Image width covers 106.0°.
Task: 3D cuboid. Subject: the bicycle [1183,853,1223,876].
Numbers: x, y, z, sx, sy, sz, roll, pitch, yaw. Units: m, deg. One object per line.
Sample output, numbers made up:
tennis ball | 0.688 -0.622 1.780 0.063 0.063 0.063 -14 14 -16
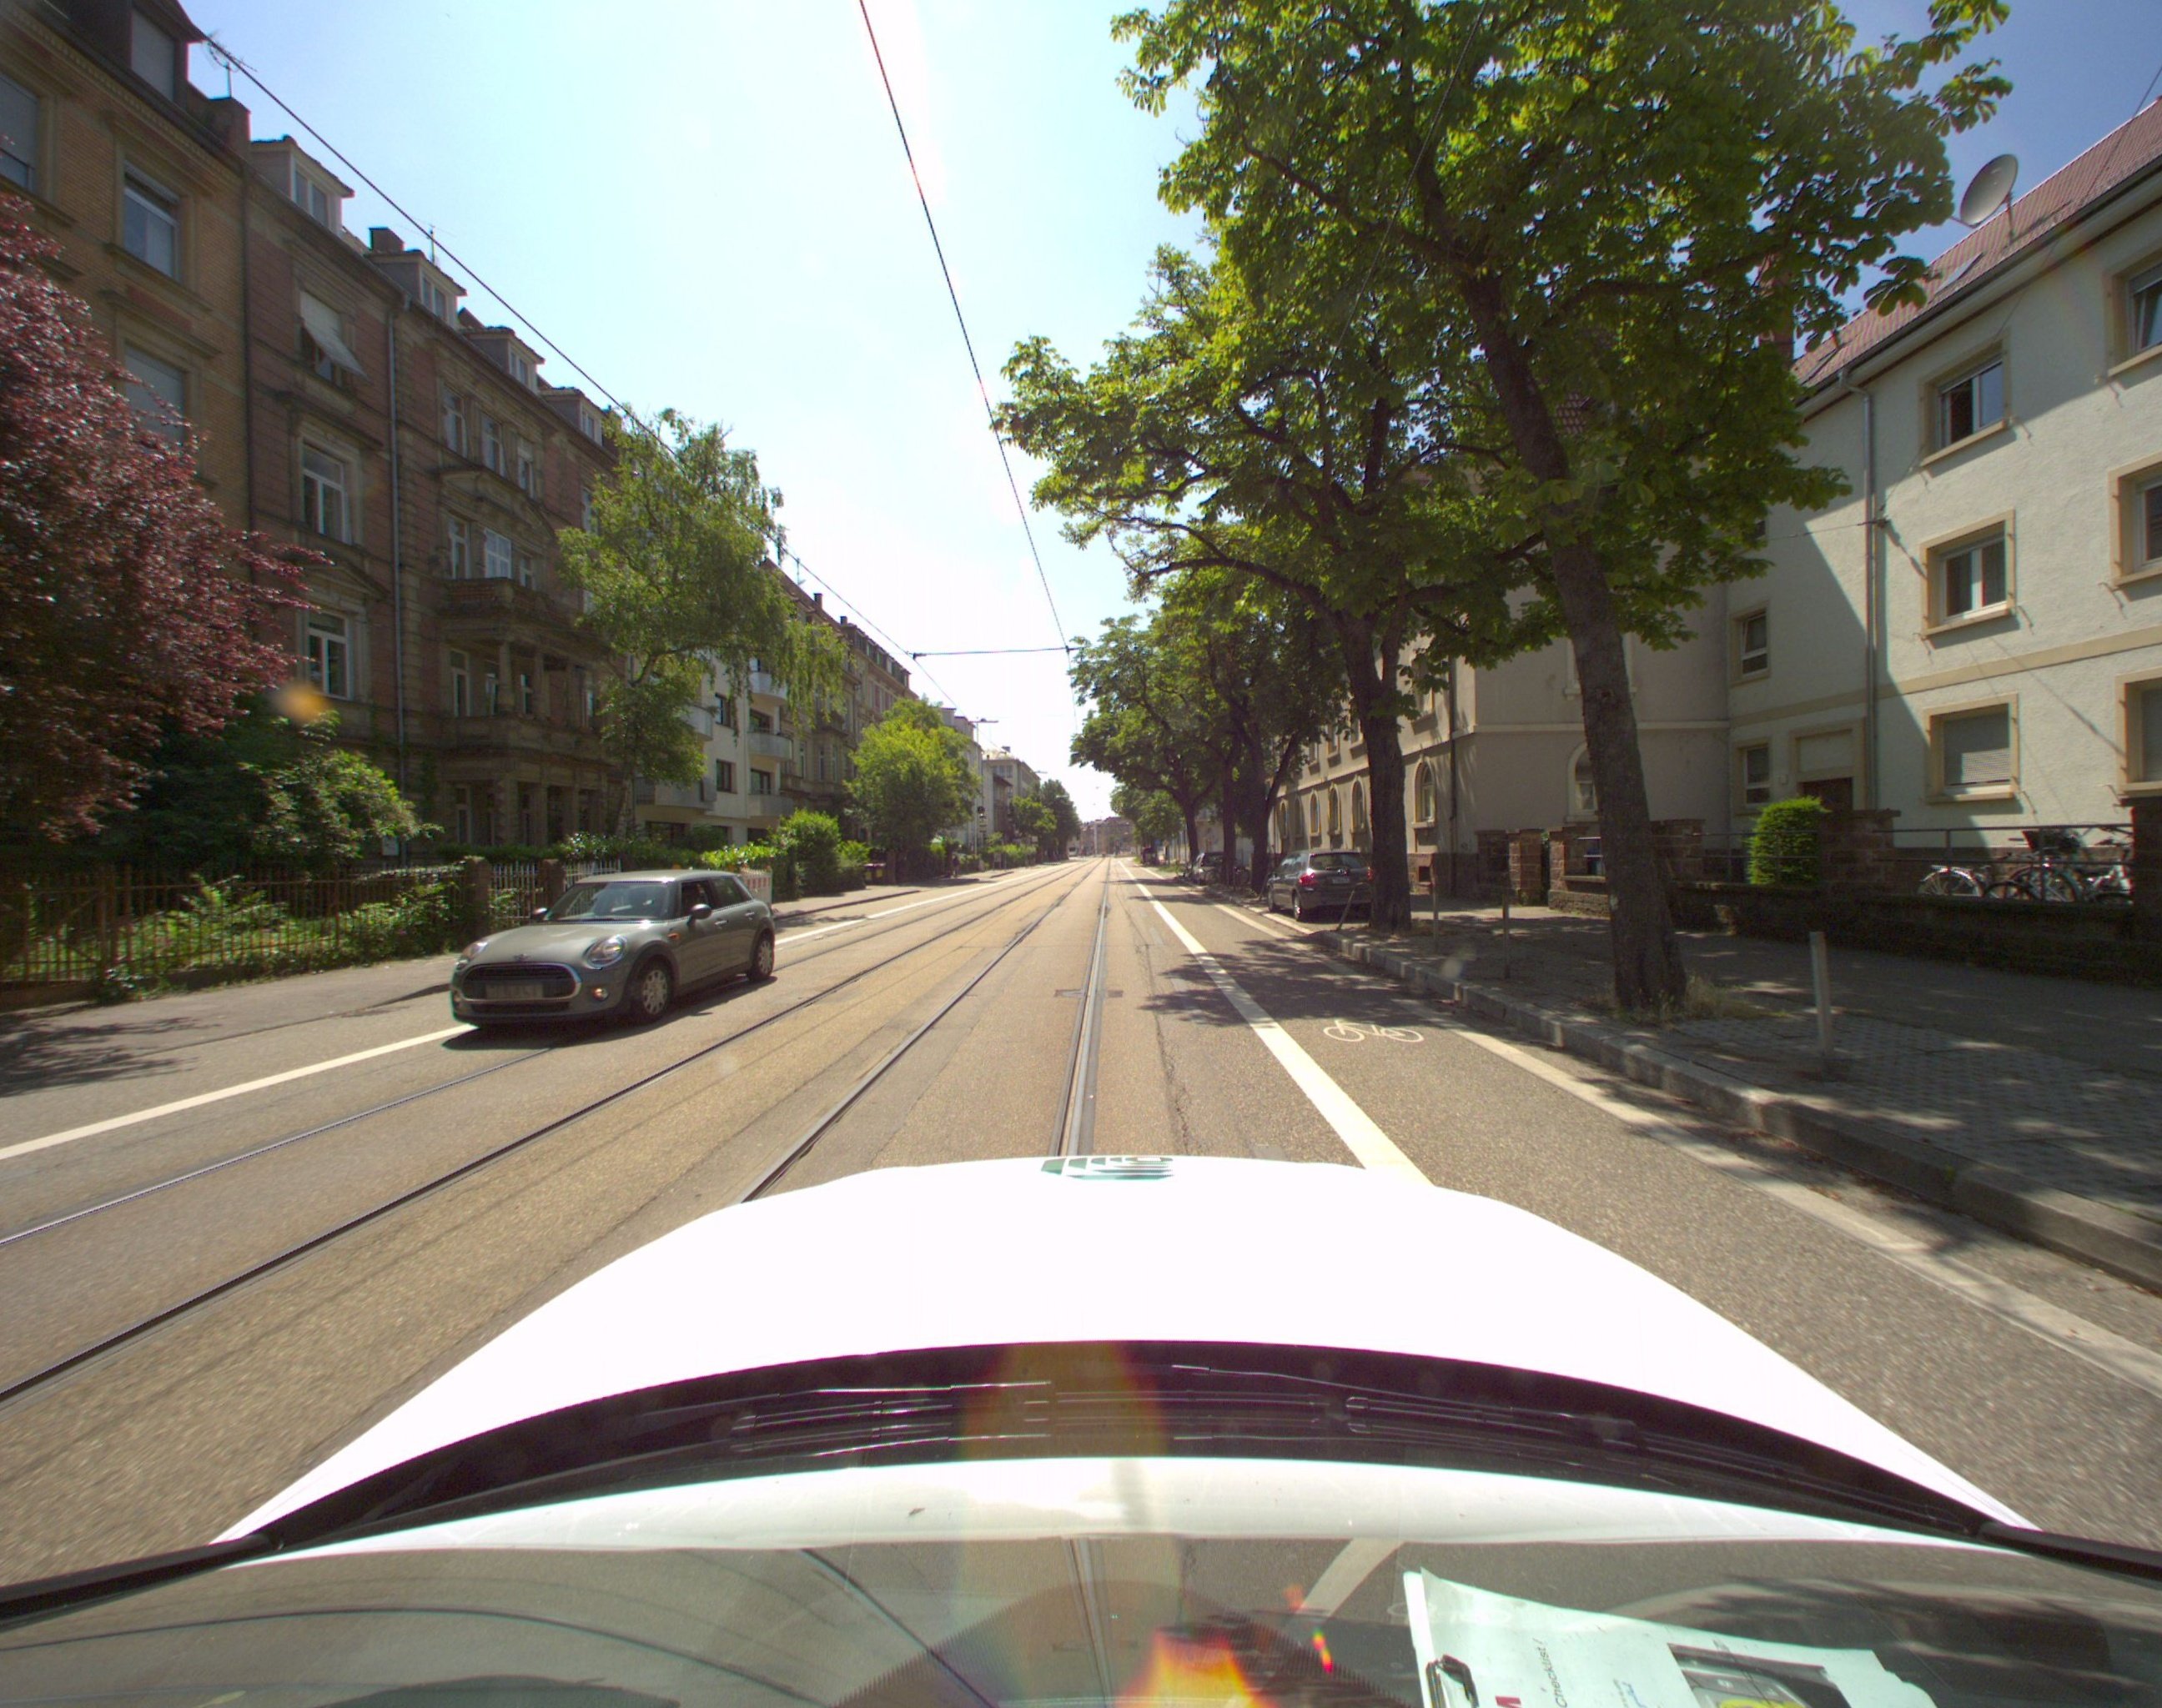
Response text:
bicycle | 6.352 0.533 42.457 2.001 1.113 0.640 -3 -1 4

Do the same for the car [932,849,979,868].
car | -13.235 0.468 85.871 4.444 1.904 2.010 -1 0 18

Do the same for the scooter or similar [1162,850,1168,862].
scooter or similar | 8.648 0.211 83.744 0.499 1.230 1.574 -1 0 2

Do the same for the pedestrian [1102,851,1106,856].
pedestrian | 5.556 -0.209 196.744 0.494 1.173 0.585 -2 0 -27

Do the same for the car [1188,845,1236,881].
car | 5.966 0.406 37.402 1.616 1.448 3.811 -4 0 2

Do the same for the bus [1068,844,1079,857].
bus | -2.188 -1.058 254.591 2.920 3.937 11.279 0 0 2

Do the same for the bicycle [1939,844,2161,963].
bicycle | 9.590 0.437 8.105 0.457 1.056 1.565 -2 0 2

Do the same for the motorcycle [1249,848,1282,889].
motorcycle | 6.271 0.461 27.668 0.989 1.299 2.387 -2 0 13

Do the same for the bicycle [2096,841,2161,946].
bicycle | 11.200 0.404 8.029 0.457 1.056 1.565 -2 0 2

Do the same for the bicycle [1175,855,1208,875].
bicycle | 6.385 0.635 46.982 1.809 1.113 0.493 -3 -1 1

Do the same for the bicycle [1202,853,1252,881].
bicycle | 5.936 0.536 33.182 1.952 1.063 0.600 -2 -1 8

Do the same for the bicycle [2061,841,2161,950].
bicycle | 10.817 0.402 8.026 0.457 1.056 1.565 -2 0 2

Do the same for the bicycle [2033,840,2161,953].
bicycle | 10.485 0.400 7.996 0.457 1.056 1.565 -2 0 2

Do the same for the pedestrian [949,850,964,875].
pedestrian | -8.255 0.573 53.898 0.747 1.629 0.835 -1 0 6

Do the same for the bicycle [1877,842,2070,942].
bicycle | 10.429 0.408 9.598 0.458 1.056 1.562 -2 0 -5

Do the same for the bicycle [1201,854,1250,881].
bicycle | 5.796 0.546 32.768 1.879 1.052 0.539 -2 -1 8

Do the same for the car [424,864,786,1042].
car | -4.813 0.884 8.943 1.680 1.454 3.749 -1 0 1

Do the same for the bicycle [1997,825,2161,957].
bicycle | 10.106 0.330 7.999 0.457 1.191 1.565 -2 0 2

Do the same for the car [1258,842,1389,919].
car | 5.440 0.528 18.829 1.768 1.501 4.306 -3 0 1

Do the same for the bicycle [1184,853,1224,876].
bicycle | 6.298 0.535 41.843 1.954 1.113 0.599 -3 -1 4

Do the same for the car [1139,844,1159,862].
car | 7.959 -0.173 95.808 1.985 2.035 4.699 -2 1 2
